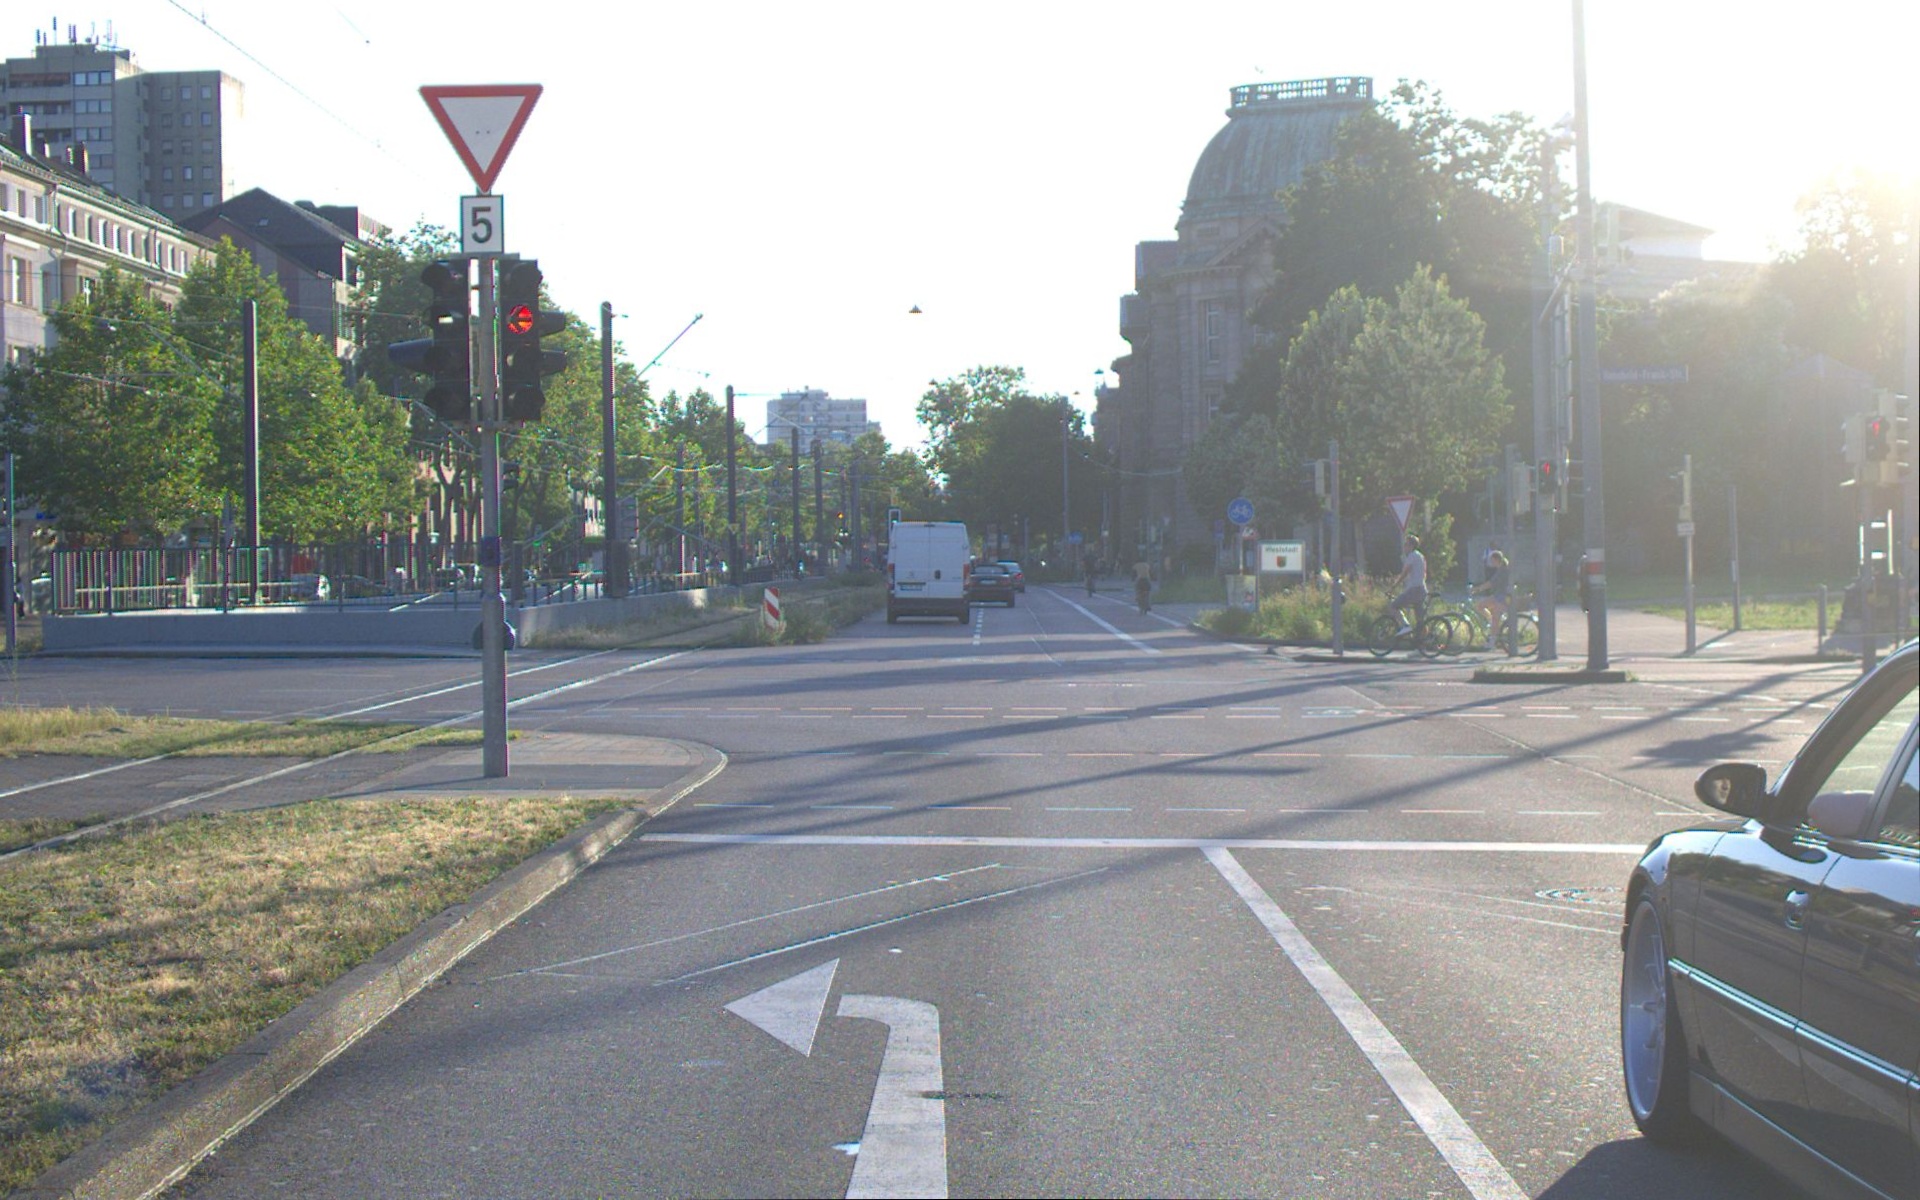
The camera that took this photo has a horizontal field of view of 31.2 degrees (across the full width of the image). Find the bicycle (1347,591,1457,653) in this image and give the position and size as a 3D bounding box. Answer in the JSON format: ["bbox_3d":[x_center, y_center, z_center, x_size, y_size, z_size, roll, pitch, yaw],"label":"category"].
[{"bbox_3d":[7.095,0.355,55.212,1.728,0.966,0.609,0,2,5],"label":"bicycle"}]

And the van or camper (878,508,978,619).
[{"bbox_3d":[-0.757,-0.942,85.262,2.263,2.616,4.503,-1,2,1],"label":"van or camper"}]

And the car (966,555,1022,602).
[{"bbox_3d":[1.129,-0.725,112.094,1.737,1.381,4.000,-1,2,1],"label":"car"}]

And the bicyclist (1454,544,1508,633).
[{"bbox_3d":[8.625,-0.188,56.871,0.854,1.437,0.663,-1,2,9],"label":"bicyclist"}]

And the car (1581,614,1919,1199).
[{"bbox_3d":[2.560,0.731,6.847,1.830,1.349,4.641,0,0,0],"label":"car"}]

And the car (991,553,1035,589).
[{"bbox_3d":[2.482,-1.359,162.338,1.794,1.560,4.001,-1,2,-3],"label":"car"}]

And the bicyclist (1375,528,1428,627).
[{"bbox_3d":[7.084,-0.365,55.192,0.797,1.566,0.663,-1,2,4],"label":"bicyclist"}]

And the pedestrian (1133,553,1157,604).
[{"bbox_3d":[5.360,-0.625,99.585,0.616,1.470,0.800,-1,2,5],"label":"pedestrian"}]

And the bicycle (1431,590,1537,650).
[{"bbox_3d":[8.667,0.322,56.875,1.719,0.966,0.609,0,2,9],"label":"bicycle"}]

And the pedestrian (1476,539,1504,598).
[{"bbox_3d":[14.821,-0.883,96.142,0.682,1.605,0.612,-1,2,1],"label":"pedestrian"}]
